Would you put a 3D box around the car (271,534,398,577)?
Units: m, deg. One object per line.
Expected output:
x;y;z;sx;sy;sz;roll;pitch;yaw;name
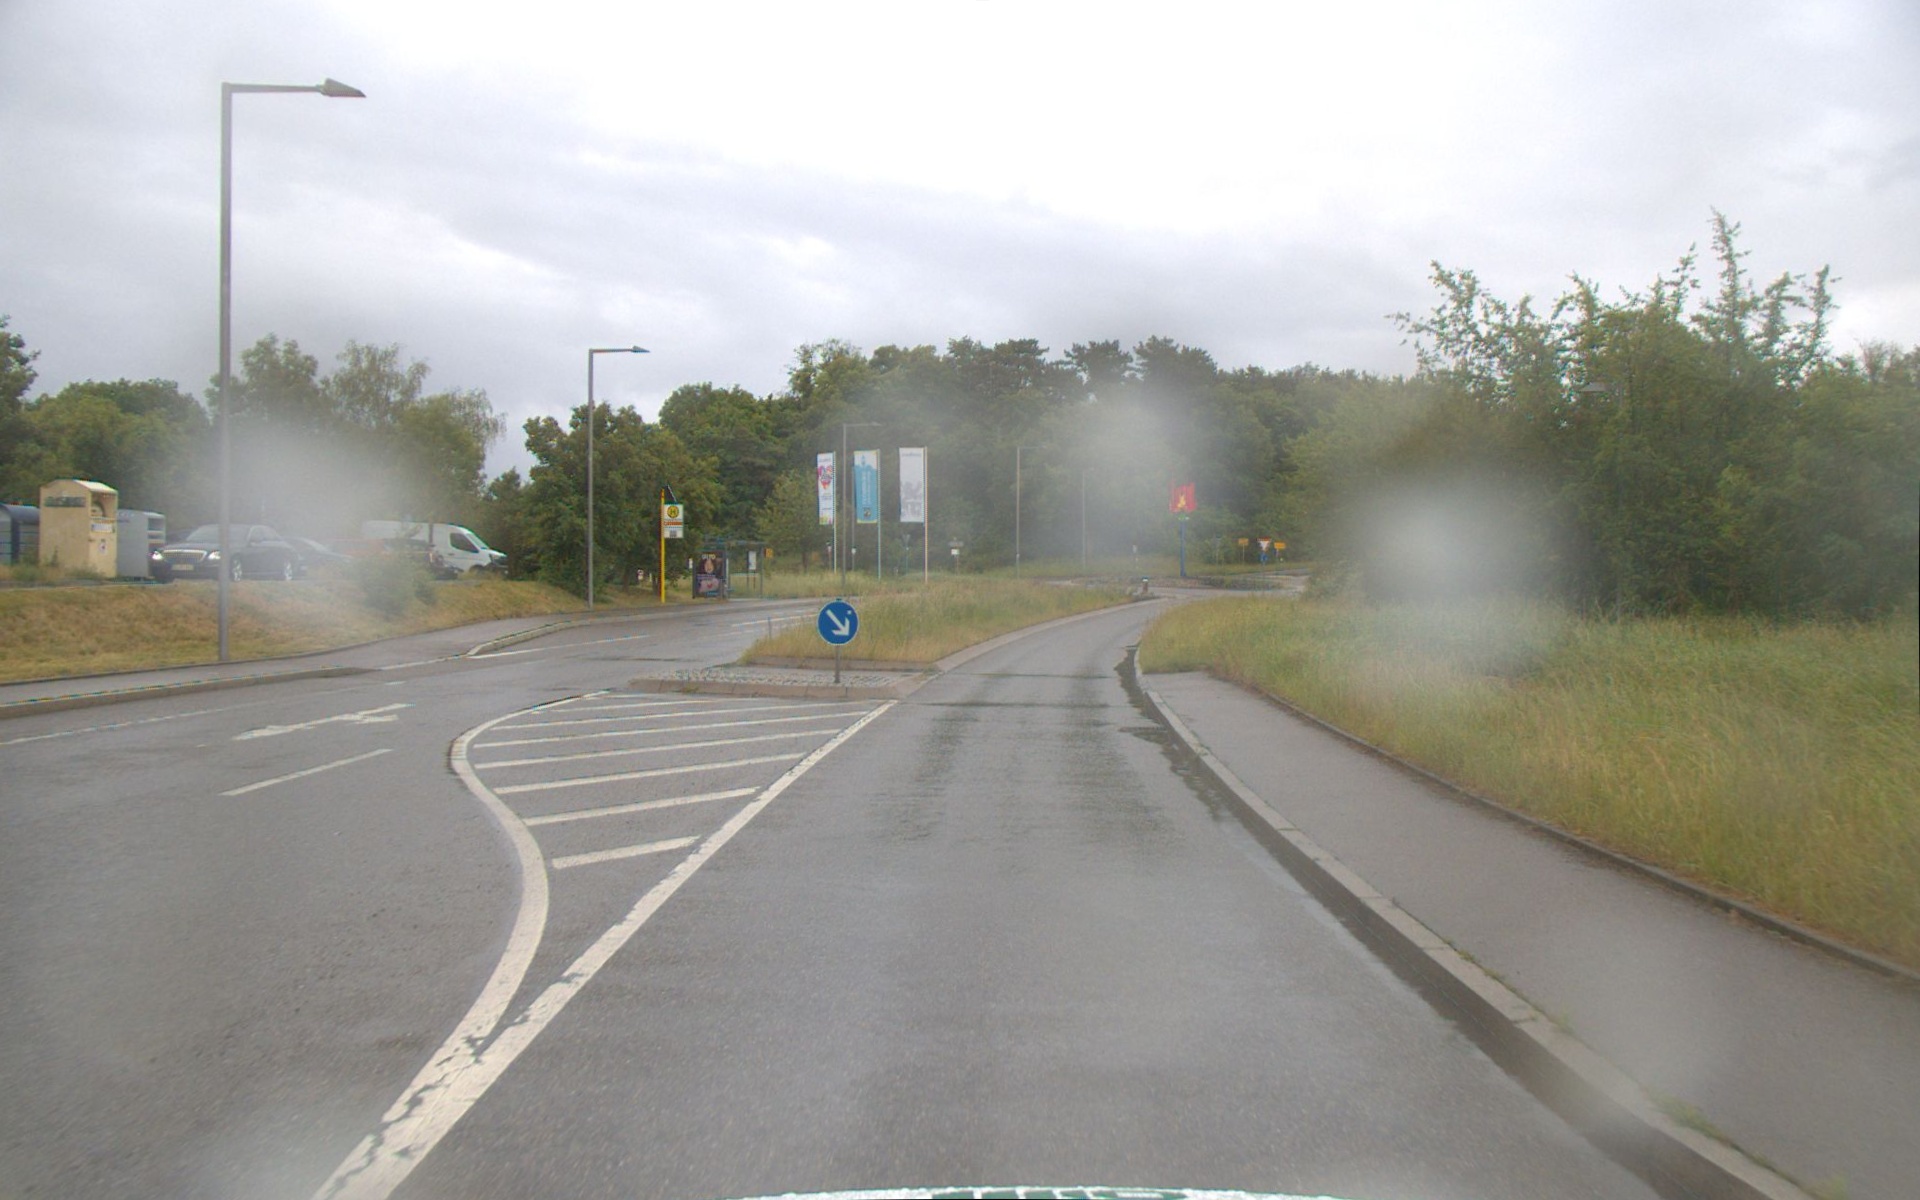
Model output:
-22.812;-1.620;60.369;3.904;1.495;1.849;0;1;3;car

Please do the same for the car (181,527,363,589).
-20.762;-1.261;50.041;4.608;1.722;2.005;2;1;2;car

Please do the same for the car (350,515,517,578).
-22.625;-2.291;71.308;6.423;2.439;2.138;2;-1;-2;car

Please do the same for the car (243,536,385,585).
-21.505;-1.307;55.118;3.903;1.387;1.901;3;1;4;car

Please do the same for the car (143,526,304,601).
-17.567;-0.900;39.693;1.656;1.595;4.544;3;2;1;car

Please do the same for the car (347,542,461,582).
-22.039;-1.504;65.609;3.903;1.387;1.654;3;1;4;car

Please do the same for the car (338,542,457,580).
-21.579;-1.490;63.544;3.903;1.388;1.849;0;1;4;car
